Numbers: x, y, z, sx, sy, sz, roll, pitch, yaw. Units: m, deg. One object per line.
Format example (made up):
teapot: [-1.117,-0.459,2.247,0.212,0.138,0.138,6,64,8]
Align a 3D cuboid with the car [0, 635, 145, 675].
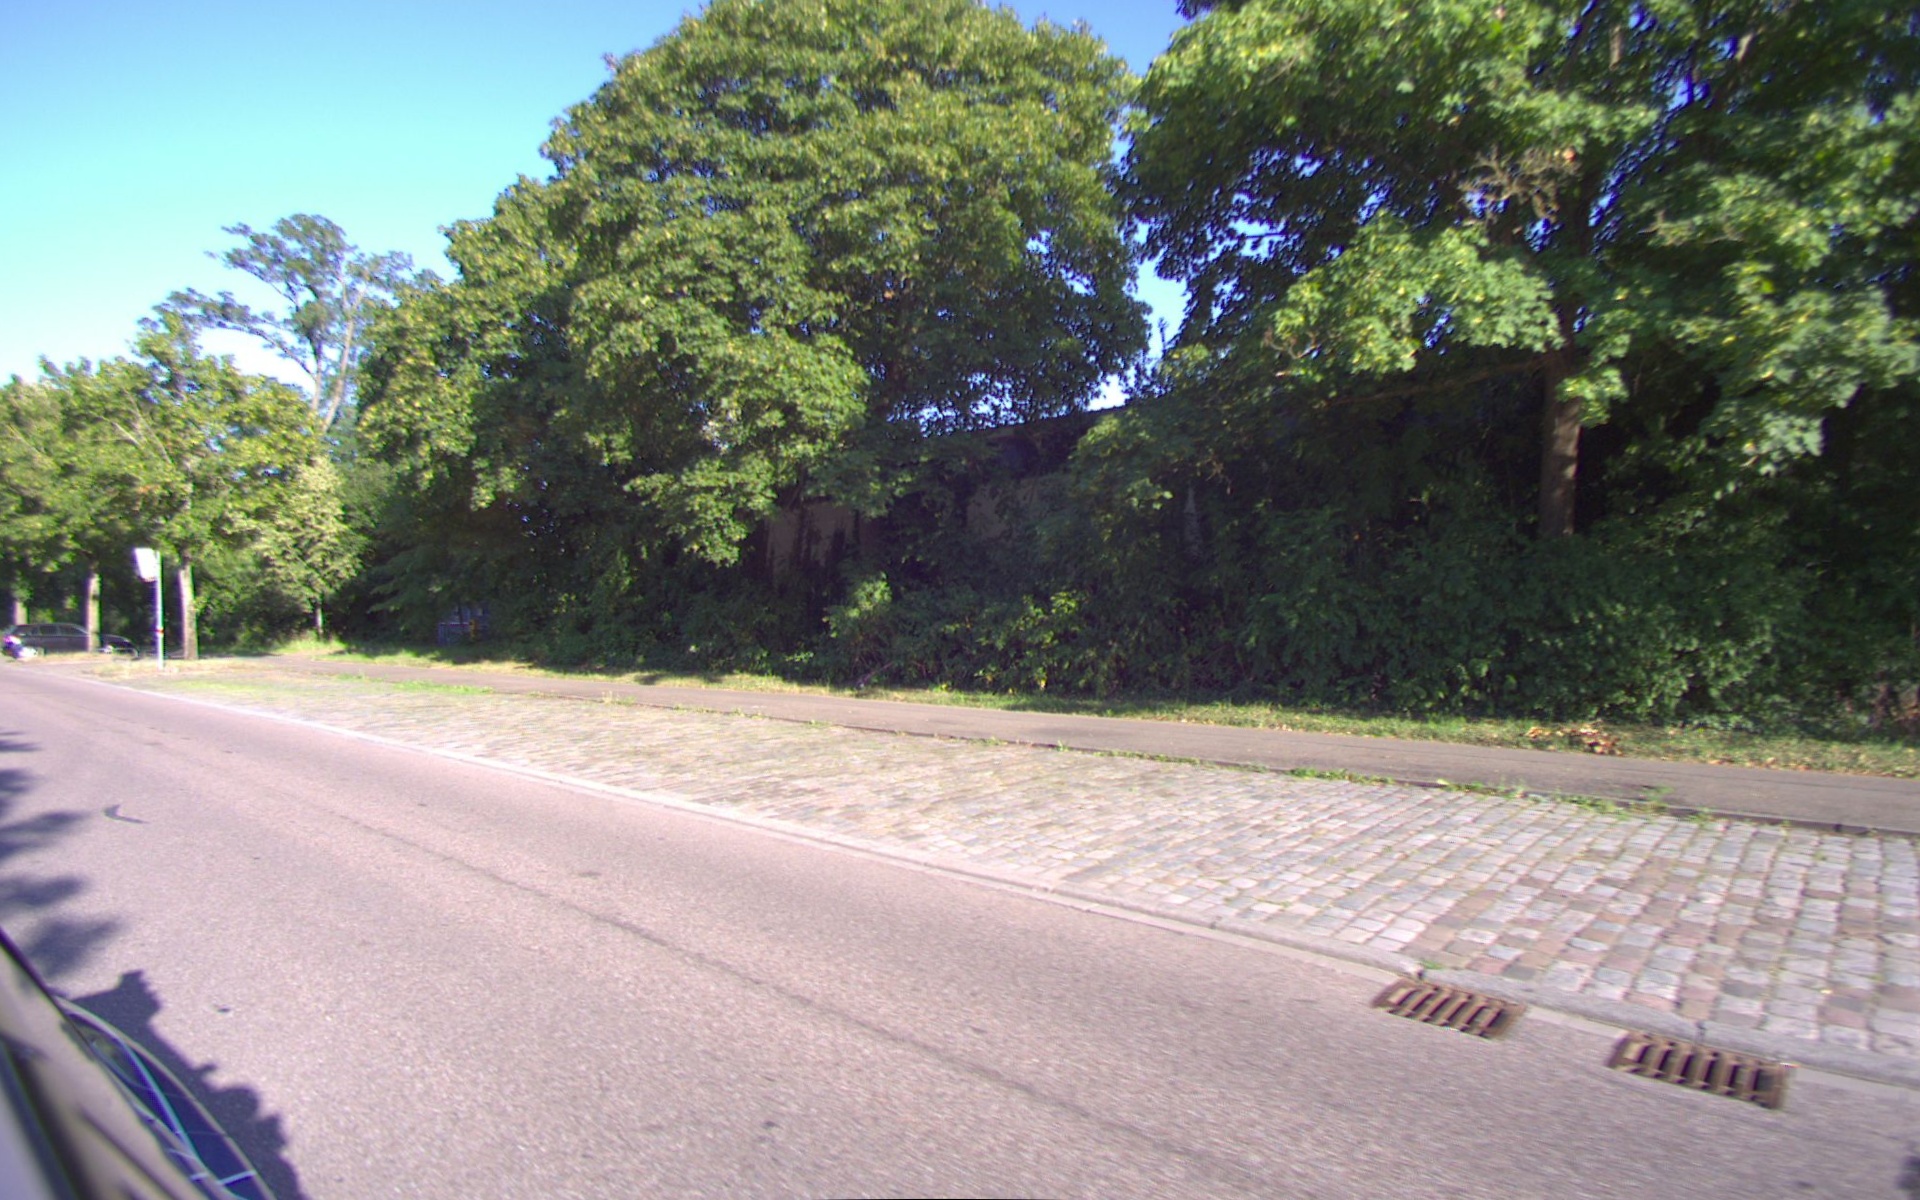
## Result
car: [-35.537,2.134,40.419,1.997,1.490,4.317,-2,-2,38]
